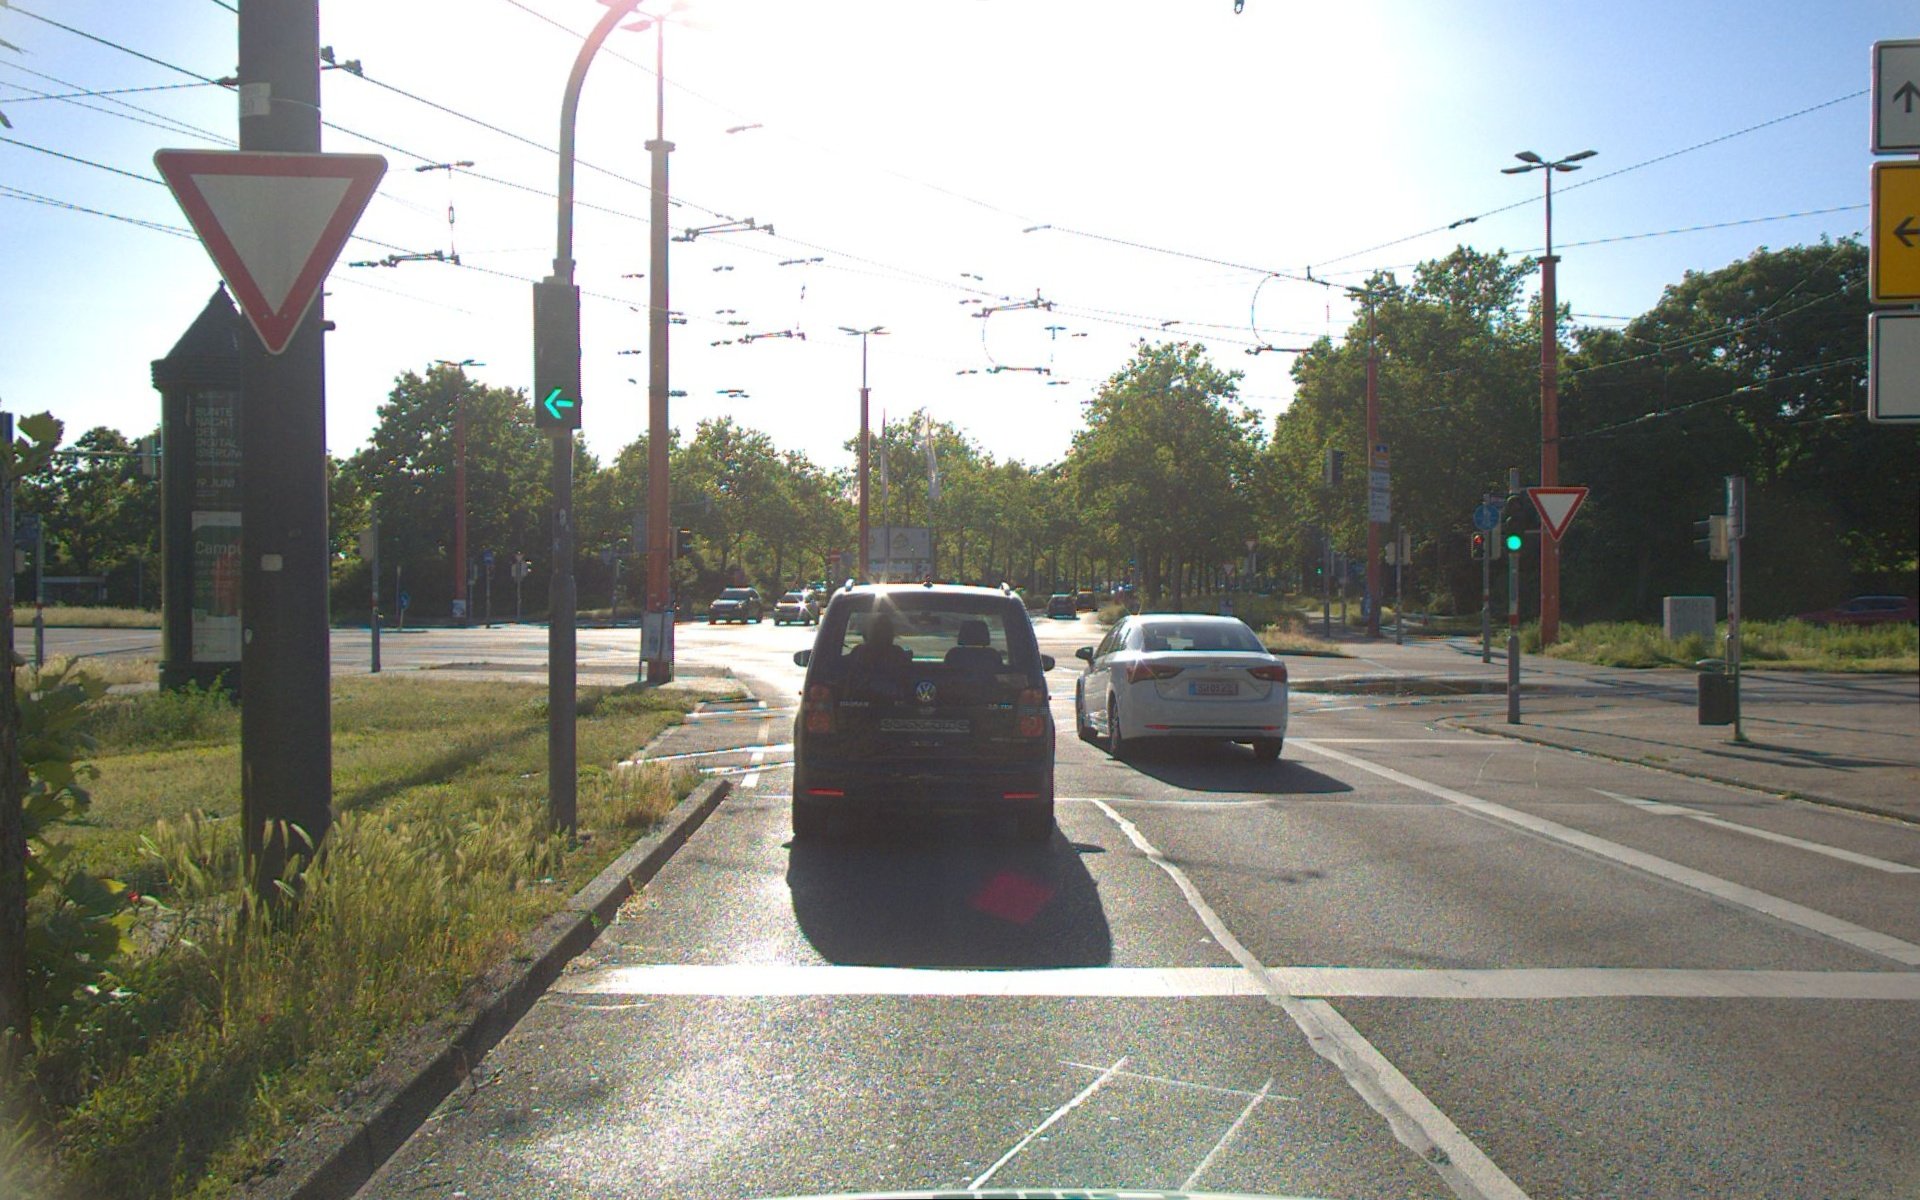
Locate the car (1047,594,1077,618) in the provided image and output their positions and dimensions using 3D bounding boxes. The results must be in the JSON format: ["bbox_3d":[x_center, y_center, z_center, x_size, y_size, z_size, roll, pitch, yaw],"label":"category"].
[{"bbox_3d":[6.445,0.388,104.098,1.752,1.412,4.052,1,1,5],"label":"car"}]

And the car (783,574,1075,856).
[{"bbox_3d":[-0.274,0.670,12.298,1.732,1.672,4.921,0,0,-2],"label":"car"}]

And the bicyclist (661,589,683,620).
[{"bbox_3d":[-14.879,0.213,85.402,0.743,1.585,0.982,0,1,15],"label":"bicyclist"}]

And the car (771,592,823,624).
[{"bbox_3d":[-8.126,0.383,82.749,1.730,1.565,4.094,0,0,7],"label":"car"}]

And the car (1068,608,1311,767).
[{"bbox_3d":[2.374,0.854,18.187,1.733,1.489,4.362,0,0,-5],"label":"car"}]

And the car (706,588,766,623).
[{"bbox_3d":[-11.470,0.262,84.901,1.861,1.757,4.657,0,0,8],"label":"car"}]

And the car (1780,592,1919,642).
[{"bbox_3d":[28.195,0.514,52.079,4.191,1.521,1.999,0,0,25],"label":"car"}]

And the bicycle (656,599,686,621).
[{"bbox_3d":[-14.902,0.498,85.327,0.747,1.110,2.017,0,1,15],"label":"bicycle"}]

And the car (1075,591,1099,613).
[{"bbox_3d":[10.071,0.185,131.550,1.833,1.655,4.002,1,-1,4],"label":"car"}]

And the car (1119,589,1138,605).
[{"bbox_3d":[17.453,-0.330,171.147,1.751,1.528,4.053,1,1,8],"label":"car"}]
